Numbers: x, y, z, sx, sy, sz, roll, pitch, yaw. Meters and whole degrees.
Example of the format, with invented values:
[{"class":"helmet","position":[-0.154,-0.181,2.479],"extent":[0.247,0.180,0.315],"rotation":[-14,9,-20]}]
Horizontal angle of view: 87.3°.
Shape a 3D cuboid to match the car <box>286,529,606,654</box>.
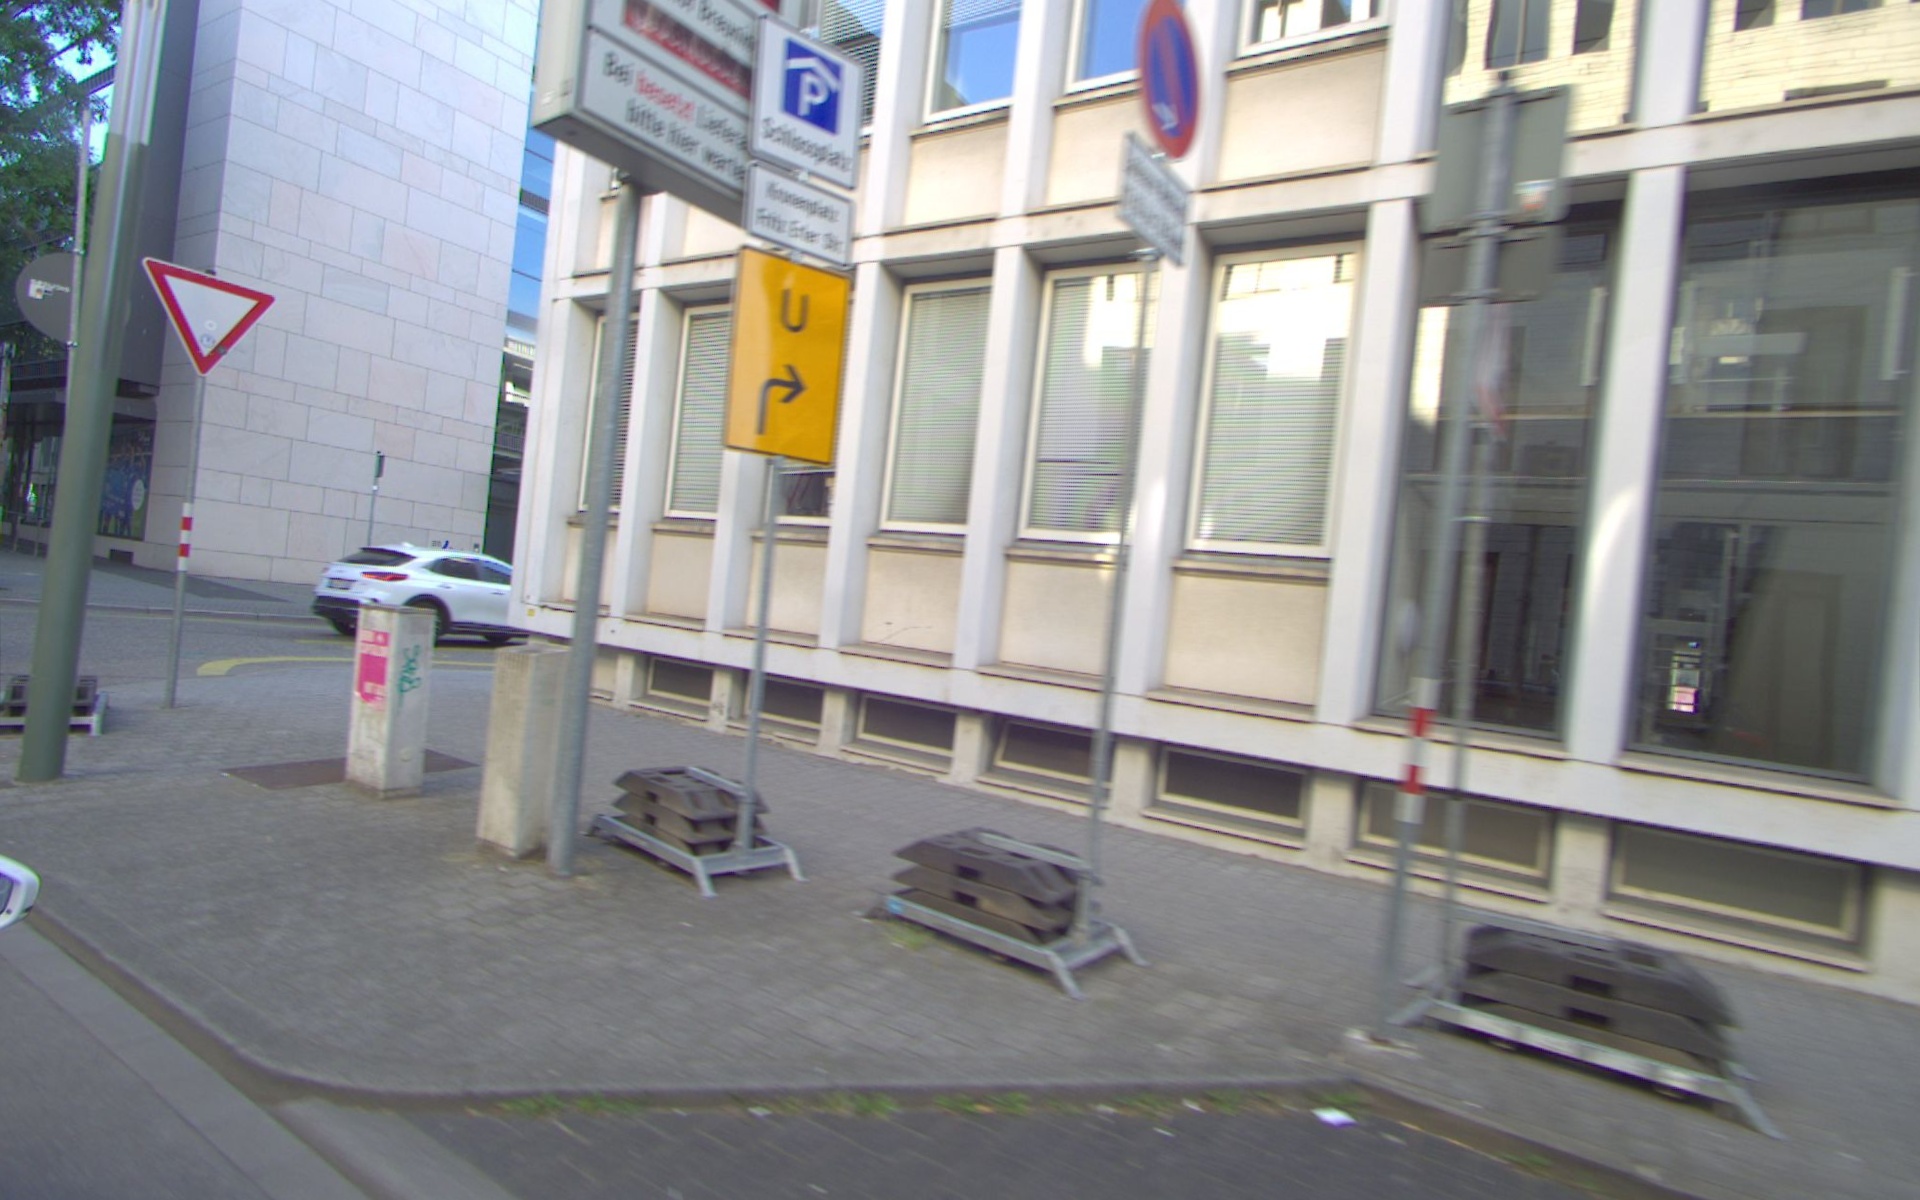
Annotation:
[{"class":"car","position":[-8.050,-0.041,16.226],"extent":[1.796,1.560,4.259],"rotation":[7,0,27]}]
